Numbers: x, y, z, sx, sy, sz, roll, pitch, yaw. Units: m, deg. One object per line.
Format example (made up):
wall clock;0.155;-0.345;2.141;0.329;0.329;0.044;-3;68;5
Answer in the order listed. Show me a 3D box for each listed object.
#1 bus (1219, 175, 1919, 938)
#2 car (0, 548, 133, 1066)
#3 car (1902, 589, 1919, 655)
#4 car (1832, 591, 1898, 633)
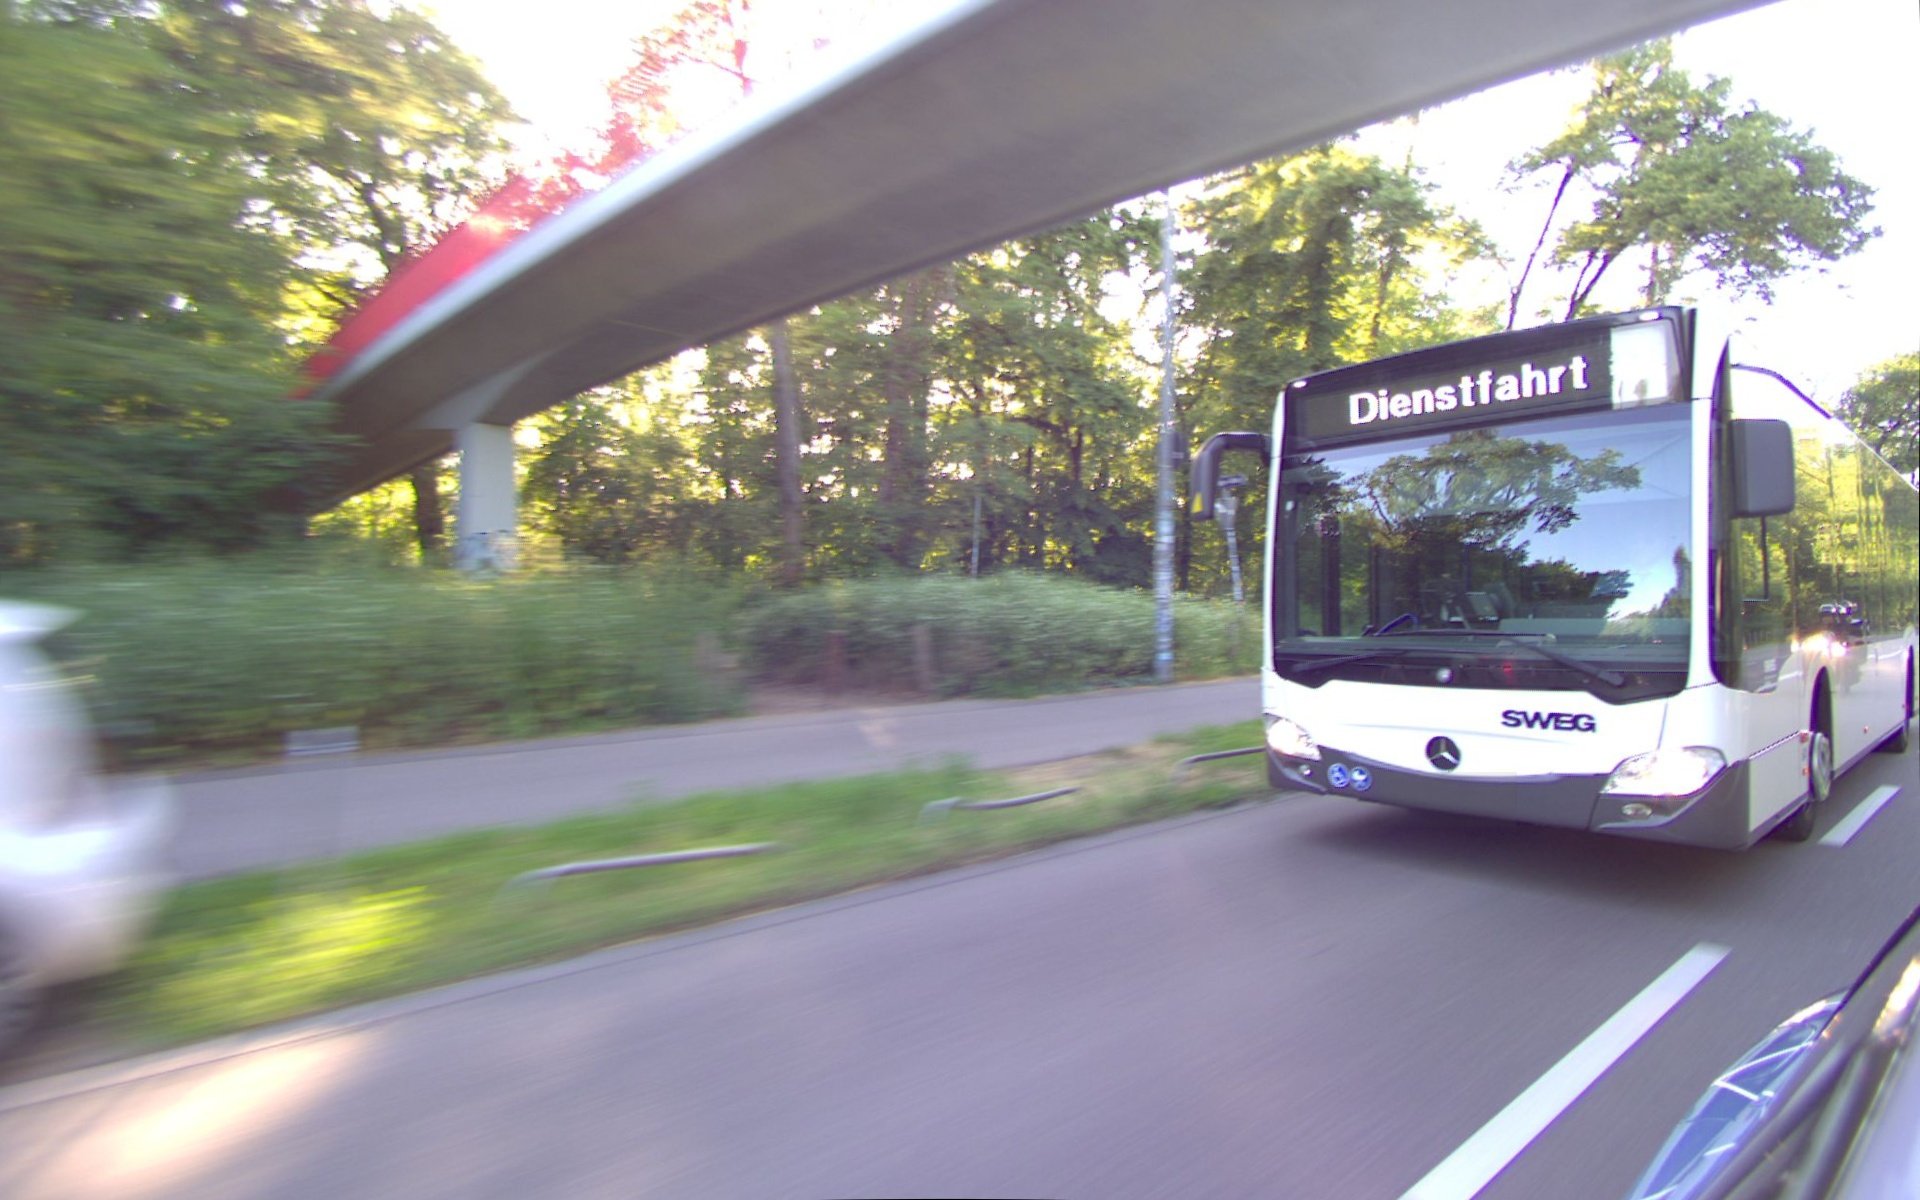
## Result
bus;6.952;-0.192;9.441;12.070;3.263;2.707;0;0;-43
car;-4.641;0.590;2.707;3.706;1.514;1.728;0;3;-39
car;25.694;0.546;26.192;1.857;1.638;3.936;0;0;44
car;36.943;0.455;41.269;1.839;1.594;4.388;1;1;44
